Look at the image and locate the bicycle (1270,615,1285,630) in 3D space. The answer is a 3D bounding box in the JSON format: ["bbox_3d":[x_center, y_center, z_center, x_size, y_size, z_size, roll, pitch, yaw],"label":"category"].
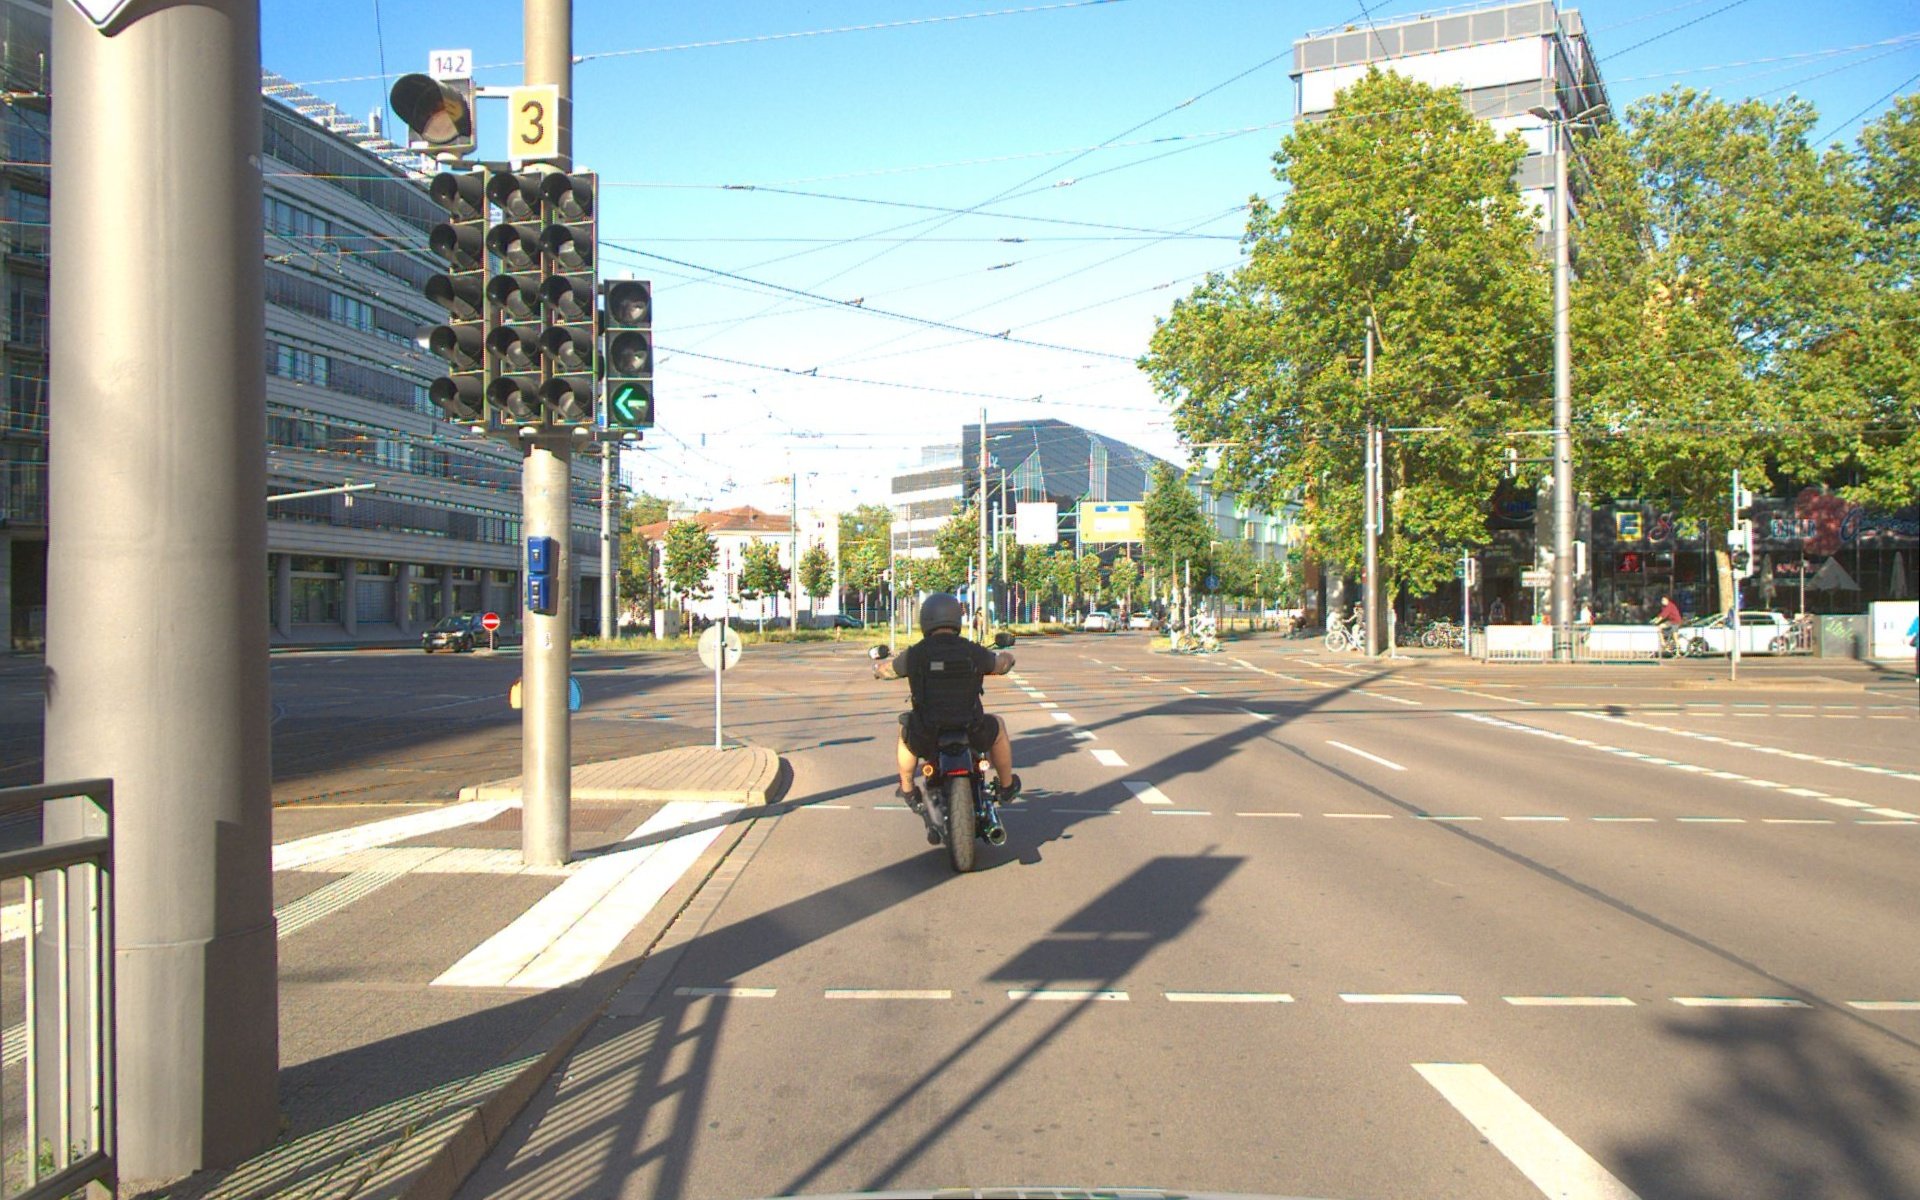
[{"bbox_3d":[24.958,1.725,129.921,1.018,1.153,3.182,0,0,14],"label":"bicycle"}]

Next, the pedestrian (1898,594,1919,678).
[{"bbox_3d":[18.308,0.680,31.286,0.662,1.566,0.741,1,-1,-9],"label":"pedestrian"}]

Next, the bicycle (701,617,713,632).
[{"bbox_3d":[-18.714,1.814,122.393,0.629,1.127,1.685,0,0,1],"label":"bicycle"}]

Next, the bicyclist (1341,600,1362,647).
[{"bbox_3d":[14.398,0.857,60.827,0.727,1.724,0.570,-1,-1,10],"label":"bicyclist"}]

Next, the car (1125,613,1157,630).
[{"bbox_3d":[15.279,1.821,139.681,1.973,1.400,4.041,0,0,17],"label":"car"}]

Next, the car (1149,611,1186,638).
[{"bbox_3d":[15.118,1.805,120.518,2.010,1.906,4.229,1,-1,17],"label":"car"}]

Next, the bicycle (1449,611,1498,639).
[{"bbox_3d":[18.989,0.931,61.193,1.668,1.003,0.391,-1,0,13],"label":"bicycle"}]

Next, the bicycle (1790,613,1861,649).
[{"bbox_3d":[31.621,1.111,60.408,2.890,1.256,0.870,-1,0,-28],"label":"bicycle"}]

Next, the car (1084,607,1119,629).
[{"bbox_3d":[10.465,1.356,122.058,1.861,1.534,4.002,1,-1,16],"label":"car"}]

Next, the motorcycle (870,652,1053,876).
[{"bbox_3d":[-0.012,0.933,10.212,0.985,1.145,2.322,1,0,-1],"label":"motorcycle"}]

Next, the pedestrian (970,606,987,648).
[{"bbox_3d":[0.717,1.054,64.153,0.643,1.610,0.489,0,0,3],"label":"pedestrian"}]

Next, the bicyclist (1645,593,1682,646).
[{"bbox_3d":[22.279,0.612,52.406,0.906,1.643,0.638,0,-1,3],"label":"bicyclist"}]

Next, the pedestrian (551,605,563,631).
[{"bbox_3d":[-26.809,1.197,109.997,0.536,1.764,0.642,-1,0,5],"label":"pedestrian"}]

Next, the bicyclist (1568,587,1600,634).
[{"bbox_3d":[25.897,0.434,68.642,1.201,1.965,0.835,0,0,23],"label":"bicyclist"}]

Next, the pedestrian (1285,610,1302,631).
[{"bbox_3d":[17.401,1.059,86.291,0.768,1.075,0.814,-1,0,22],"label":"pedestrian"}]

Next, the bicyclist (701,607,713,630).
[{"bbox_3d":[-18.723,1.335,122.382,0.748,1.696,0.994,0,0,1],"label":"bicyclist"}]

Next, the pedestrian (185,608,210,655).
[{"bbox_3d":[-30.768,1.259,66.723,0.662,1.855,0.883,-1,-1,-9],"label":"pedestrian"}]

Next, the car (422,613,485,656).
[{"bbox_3d":[-19.152,1.263,62.714,1.759,1.491,4.300,-1,0,-10],"label":"car"}]

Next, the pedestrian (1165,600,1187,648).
[{"bbox_3d":[8.436,0.930,64.639,0.688,1.869,0.513,0,-1,35],"label":"pedestrian"}]

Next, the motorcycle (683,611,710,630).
[{"bbox_3d":[-18.193,1.422,114.332,0.962,1.253,2.945,-1,-1,10],"label":"motorcycle"}]

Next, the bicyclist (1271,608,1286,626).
[{"bbox_3d":[24.951,1.313,129.603,1.018,1.405,1.565,0,0,14],"label":"bicyclist"}]

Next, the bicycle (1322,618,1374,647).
[{"bbox_3d":[14.253,1.190,60.838,1.813,1.039,0.517,-1,-1,10],"label":"bicycle"}]

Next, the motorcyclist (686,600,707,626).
[{"bbox_3d":[-18.196,0.920,114.399,0.997,1.761,1.462,-1,-1,10],"label":"motorcyclist"}]

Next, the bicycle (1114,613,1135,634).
[{"bbox_3d":[13.085,1.893,131.611,0.995,1.607,3.576,-1,0,17],"label":"bicycle"}]

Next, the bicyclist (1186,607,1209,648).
[{"bbox_3d":[9.026,1.040,62.724,0.727,1.529,0.570,-1,-1,23],"label":"bicyclist"}]

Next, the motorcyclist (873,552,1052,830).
[{"bbox_3d":[0.003,0.524,10.115,1.001,1.579,1.286,1,0,-1],"label":"motorcyclist"}]

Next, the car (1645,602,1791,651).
[{"bbox_3d":[24.781,0.853,54.192,3.903,1.512,2.001,1,-1,3],"label":"car"}]

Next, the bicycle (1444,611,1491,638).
[{"bbox_3d":[19.463,0.946,63.418,1.668,1.003,0.391,-1,0,13],"label":"bicycle"}]

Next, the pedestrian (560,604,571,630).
[{"bbox_3d":[-26.202,1.134,109.879,0.536,1.764,0.642,-1,0,5],"label":"pedestrian"}]

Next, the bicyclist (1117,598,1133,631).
[{"bbox_3d":[13.169,1.151,131.810,0.995,2.670,1.472,-1,0,17],"label":"bicyclist"}]

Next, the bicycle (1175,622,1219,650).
[{"bbox_3d":[8.988,1.373,62.741,1.594,1.039,0.516,-1,-1,23],"label":"bicycle"}]

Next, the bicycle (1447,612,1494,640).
[{"bbox_3d":[19.139,0.976,62.041,1.668,1.003,0.391,-1,0,13],"label":"bicycle"}]

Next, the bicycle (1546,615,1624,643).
[{"bbox_3d":[25.909,1.178,68.582,2.979,1.133,0.835,0,0,23],"label":"bicycle"}]

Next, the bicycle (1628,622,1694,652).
[{"bbox_3d":[22.192,1.171,52.404,1.814,0.926,0.652,0,0,3],"label":"bicycle"}]

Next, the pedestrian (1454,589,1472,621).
[{"bbox_3d":[24.261,0.241,79.747,0.760,1.554,0.563,-1,-1,25],"label":"pedestrian"}]

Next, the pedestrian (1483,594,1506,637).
[{"bbox_3d":[24.062,0.698,74.464,0.829,1.884,0.810,2,0,13],"label":"pedestrian"}]
